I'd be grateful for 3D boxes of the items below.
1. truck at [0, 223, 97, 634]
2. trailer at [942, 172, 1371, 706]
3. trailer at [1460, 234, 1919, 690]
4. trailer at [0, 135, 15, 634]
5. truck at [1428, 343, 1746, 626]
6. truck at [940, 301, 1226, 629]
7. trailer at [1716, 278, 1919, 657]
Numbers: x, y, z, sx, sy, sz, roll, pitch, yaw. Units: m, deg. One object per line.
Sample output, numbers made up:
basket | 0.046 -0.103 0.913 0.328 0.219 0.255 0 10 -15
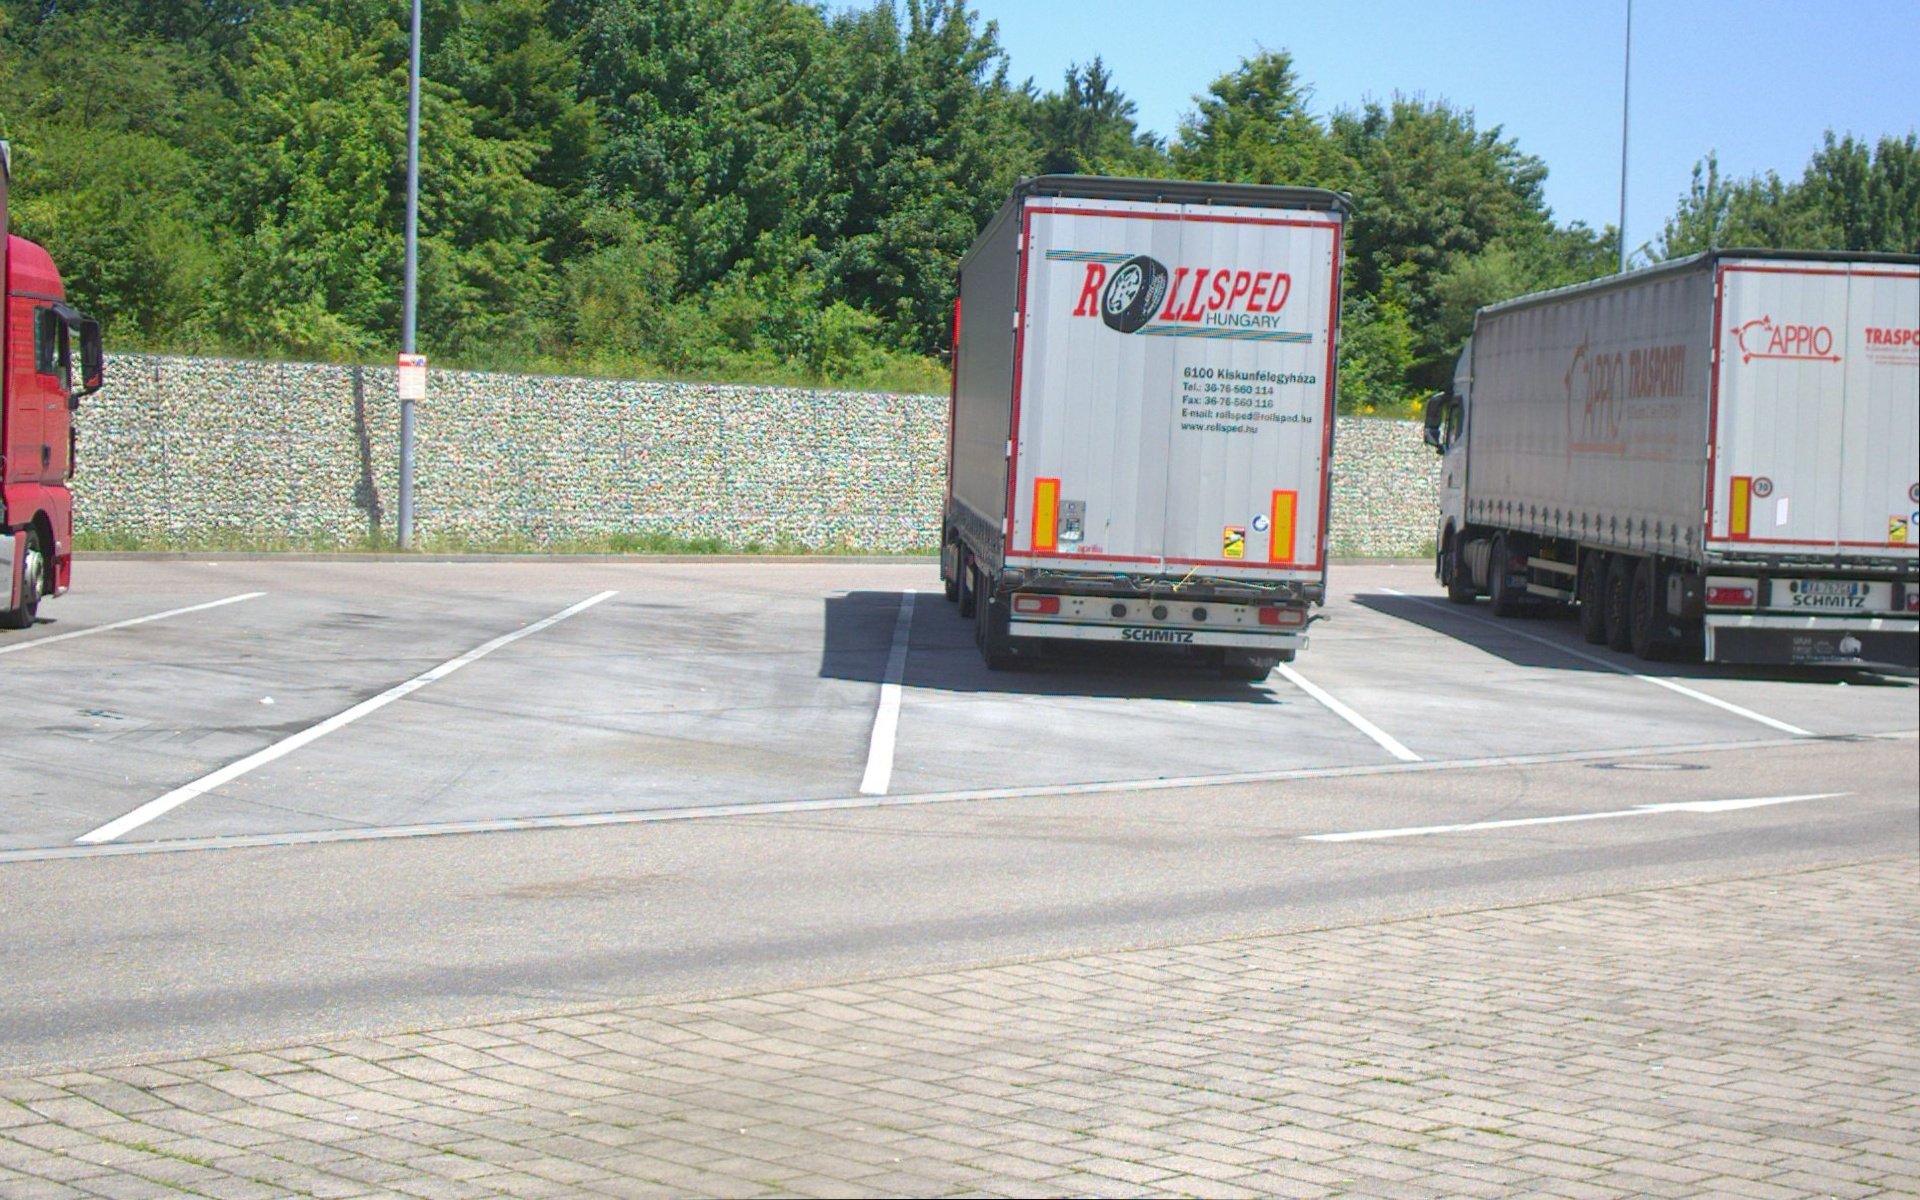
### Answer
truck | -9.248 -1.449 28.189 2.812 3.351 5.975 2 3 -1
trailer | 1.463 -1.562 33.111 2.858 3.958 13.765 2 3 -1
trailer | 8.192 -1.583 38.365 2.858 4.095 13.765 2 3 -1
trailer | -9.160 -1.460 21.370 2.821 4.057 13.765 2 3 -1
truck | 8.090 -1.562 45.131 2.865 3.351 5.975 2 3 -1
truck | 1.279 -1.566 39.313 2.865 3.351 5.975 2 3 -1
trailer | 11.789 -1.499 39.378 2.858 4.095 13.765 2 3 -1
